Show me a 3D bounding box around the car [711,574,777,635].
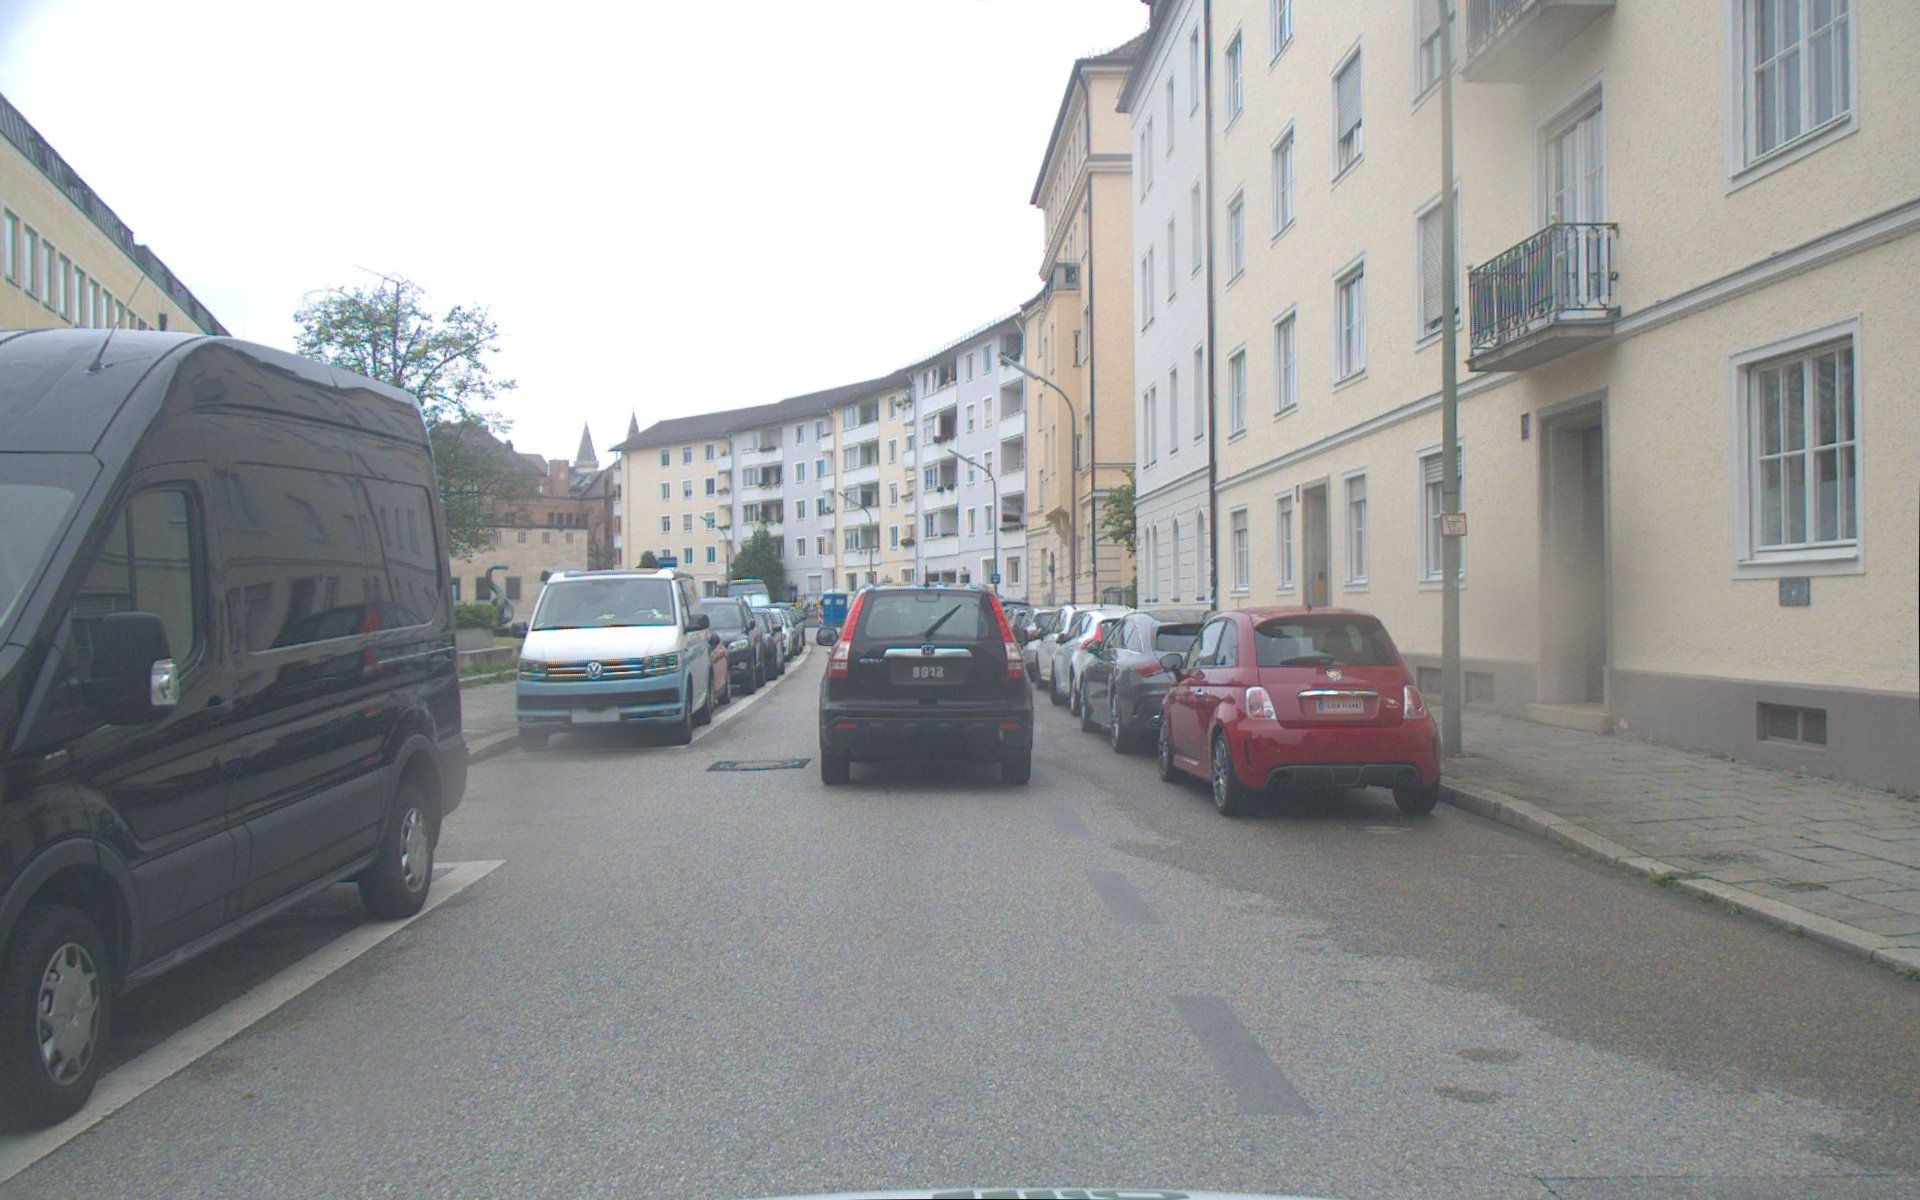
[{"bbox_3d":[-10.151,0.183,77.237,2.129,2.688,5.990,-2,0,-16],"label":"car"}]

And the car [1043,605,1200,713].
[{"bbox_3d":[2.273,0.792,24.314,1.645,1.434,4.440,0,0,-3],"label":"car"}]

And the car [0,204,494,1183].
[{"bbox_3d":[-3.794,0.269,6.614,2.250,2.692,5.652,-2,0,-1],"label":"car"}]

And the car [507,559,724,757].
[{"bbox_3d":[-3.959,0.613,19.801,1.890,2.013,5.017,-1,0,-5],"label":"car"}]

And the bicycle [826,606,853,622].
[{"bbox_3d":[-8.410,0.976,115.225,1.842,1.110,0.561,0,-1,-25],"label":"bicycle"}]

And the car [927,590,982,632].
[{"bbox_3d":[-0.280,0.486,76.200,1.745,1.838,4.265,1,0,-11],"label":"car"}]

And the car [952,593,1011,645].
[{"bbox_3d":[0.719,0.653,59.006,1.831,1.747,4.863,1,0,-2],"label":"car"}]

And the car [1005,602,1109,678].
[{"bbox_3d":[1.937,0.784,34.127,1.646,1.452,4.163,0,0,-4],"label":"car"}]

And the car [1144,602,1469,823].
[{"bbox_3d":[2.626,0.786,13.400,1.645,1.524,3.821,0,0,-3],"label":"car"}]

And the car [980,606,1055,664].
[{"bbox_3d":[1.490,0.900,44.034,1.645,1.452,4.084,0,0,-3],"label":"car"}]

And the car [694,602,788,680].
[{"bbox_3d":[-4.602,0.825,35.184,1.647,1.479,3.867,-2,0,-3],"label":"car"}]

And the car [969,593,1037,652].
[{"bbox_3d":[1.236,0.652,49.110,1.688,1.663,4.455,0,0,-3],"label":"car"}]

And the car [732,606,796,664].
[{"bbox_3d":[-5.437,0.939,46.243,1.624,1.479,4.068,-2,0,-5],"label":"car"}]

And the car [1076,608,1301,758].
[{"bbox_3d":[2.371,0.813,18.230,1.645,1.434,4.419,0,0,-3],"label":"car"}]

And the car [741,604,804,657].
[{"bbox_3d":[-5.744,0.916,51.101,1.720,1.479,4.392,-2,0,-4],"label":"car"}]

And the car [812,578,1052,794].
[{"bbox_3d":[-0.388,0.675,14.922,1.854,1.676,3.986,0,0,-6],"label":"car"}]

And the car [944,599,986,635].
[{"bbox_3d":[0.202,0.700,71.028,1.673,1.472,3.828,1,0,-1],"label":"car"}]

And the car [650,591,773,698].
[{"bbox_3d":[-4.436,0.751,30.117,1.709,1.695,4.446,-4,0,-3],"label":"car"}]

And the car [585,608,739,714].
[{"bbox_3d":[-4.324,0.846,24.530,1.709,1.411,3.916,1,0,-2],"label":"car"}]

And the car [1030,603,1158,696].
[{"bbox_3d":[2.263,0.811,28.897,1.646,1.507,4.163,0,0,-4],"label":"car"}]

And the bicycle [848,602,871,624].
[{"bbox_3d":[-6.548,0.863,107.625,0.953,1.413,2.551,0,0,-18],"label":"bicycle"}]
